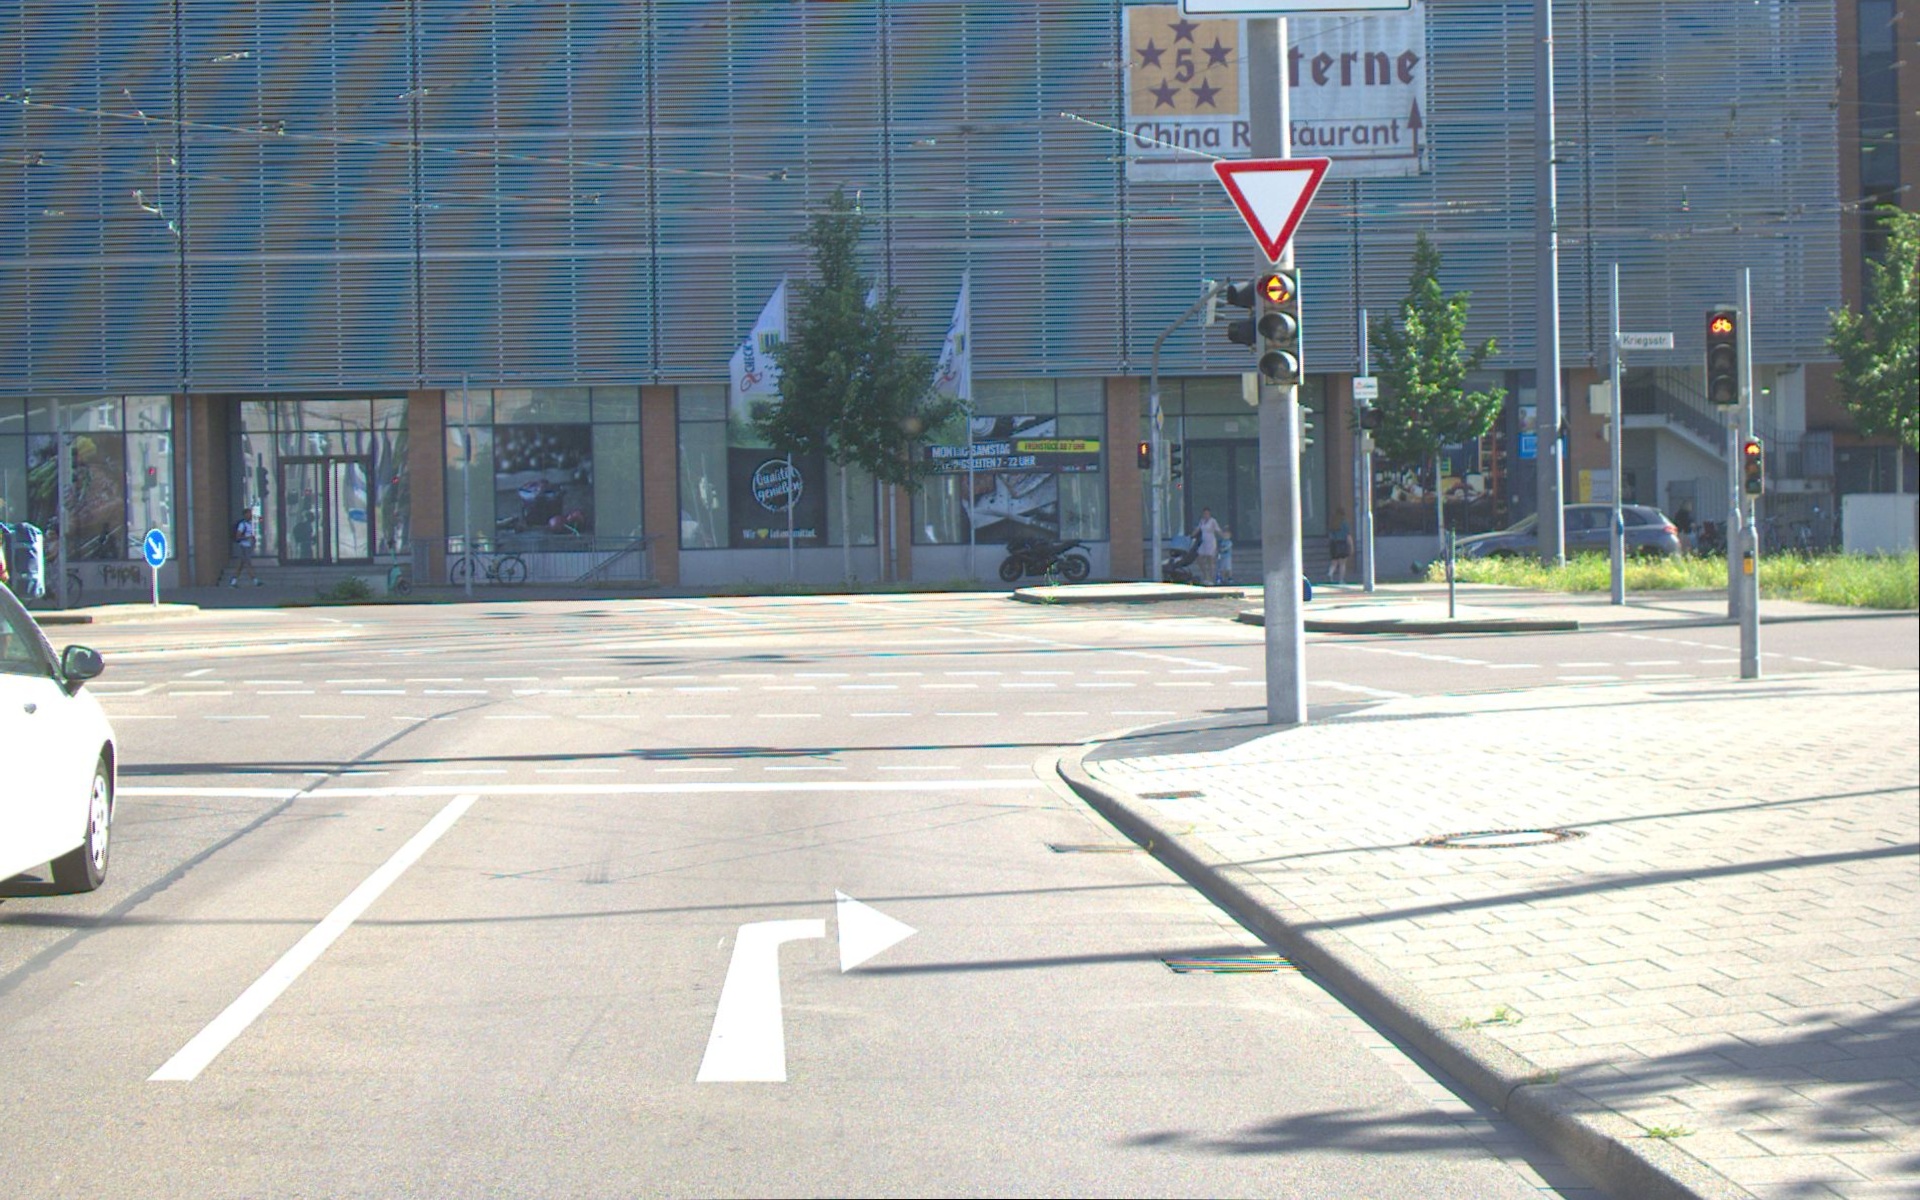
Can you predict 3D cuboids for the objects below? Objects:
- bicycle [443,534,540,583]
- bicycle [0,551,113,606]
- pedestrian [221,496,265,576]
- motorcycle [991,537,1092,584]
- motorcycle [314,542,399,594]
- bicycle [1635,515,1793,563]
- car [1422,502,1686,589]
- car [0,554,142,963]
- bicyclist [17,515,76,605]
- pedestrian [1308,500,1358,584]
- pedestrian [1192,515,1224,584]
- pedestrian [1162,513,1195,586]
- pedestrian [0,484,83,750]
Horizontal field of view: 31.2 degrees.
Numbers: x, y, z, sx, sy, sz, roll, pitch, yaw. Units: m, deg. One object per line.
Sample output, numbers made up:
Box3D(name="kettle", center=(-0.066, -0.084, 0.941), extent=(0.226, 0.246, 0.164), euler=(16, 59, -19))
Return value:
Box3D(name="bicycle", center=(-10.381, -0.926, 76.192), extent=(2.026, 1.055, 1.145), euler=(-1, 1, -3))
Box3D(name="bicycle", center=(-18.584, -0.452, 70.235), extent=(2.239, 1.067, 1.046), euler=(-2, 2, -44))
Box3D(name="pedestrian", center=(-15.984, -1.435, 76.672), extent=(0.848, 1.757, 0.620), euler=(-1, 1, -4))
Box3D(name="motorcycle", center=(1.823, -0.892, 77.037), extent=(2.202, 1.039, 1.061), euler=(0, 2, -3))
Box3D(name="motorcycle", center=(-12.523, -0.669, 71.350), extent=(1.652, 1.055, 0.497), euler=(-1, 1, 7))
Box3D(name="bicycle", center=(17.140, -1.398, 78.207), extent=(3.361, 1.073, 1.117), euler=(0, 2, 3))
Box3D(name="car", center=(10.745, -0.995, 62.297), extent=(4.486, 1.489, 1.495), euler=(-1, 1, -3))
Box3D(name="car", center=(-4.259, 0.545, 12.918), extent=(1.632, 1.418, 3.783), euler=(2, 1, -3))
Box3D(name="bicyclist", center=(-18.656, -0.821, 70.224), extent=(0.843, 1.797, 0.816), euler=(-2, 2, -45))
Box3D(name="pedestrian", center=(7.778, -1.213, 71.745), extent=(0.853, 1.732, 0.754), euler=(-1, 1, -9))
Box3D(name="pedestrian", center=(5.289, -1.070, 73.326), extent=(0.589, 1.457, 0.658), euler=(-1, 1, -3))
Box3D(name="pedestrian", center=(4.629, -1.068, 72.819), extent=(0.589, 1.529, 0.658), euler=(-1, 1, -3))
Box3D(name="pedestrian", center=(-6.256, 0.105, 22.440), extent=(0.885, 1.701, 0.713), euler=(-1, 1, -3))
